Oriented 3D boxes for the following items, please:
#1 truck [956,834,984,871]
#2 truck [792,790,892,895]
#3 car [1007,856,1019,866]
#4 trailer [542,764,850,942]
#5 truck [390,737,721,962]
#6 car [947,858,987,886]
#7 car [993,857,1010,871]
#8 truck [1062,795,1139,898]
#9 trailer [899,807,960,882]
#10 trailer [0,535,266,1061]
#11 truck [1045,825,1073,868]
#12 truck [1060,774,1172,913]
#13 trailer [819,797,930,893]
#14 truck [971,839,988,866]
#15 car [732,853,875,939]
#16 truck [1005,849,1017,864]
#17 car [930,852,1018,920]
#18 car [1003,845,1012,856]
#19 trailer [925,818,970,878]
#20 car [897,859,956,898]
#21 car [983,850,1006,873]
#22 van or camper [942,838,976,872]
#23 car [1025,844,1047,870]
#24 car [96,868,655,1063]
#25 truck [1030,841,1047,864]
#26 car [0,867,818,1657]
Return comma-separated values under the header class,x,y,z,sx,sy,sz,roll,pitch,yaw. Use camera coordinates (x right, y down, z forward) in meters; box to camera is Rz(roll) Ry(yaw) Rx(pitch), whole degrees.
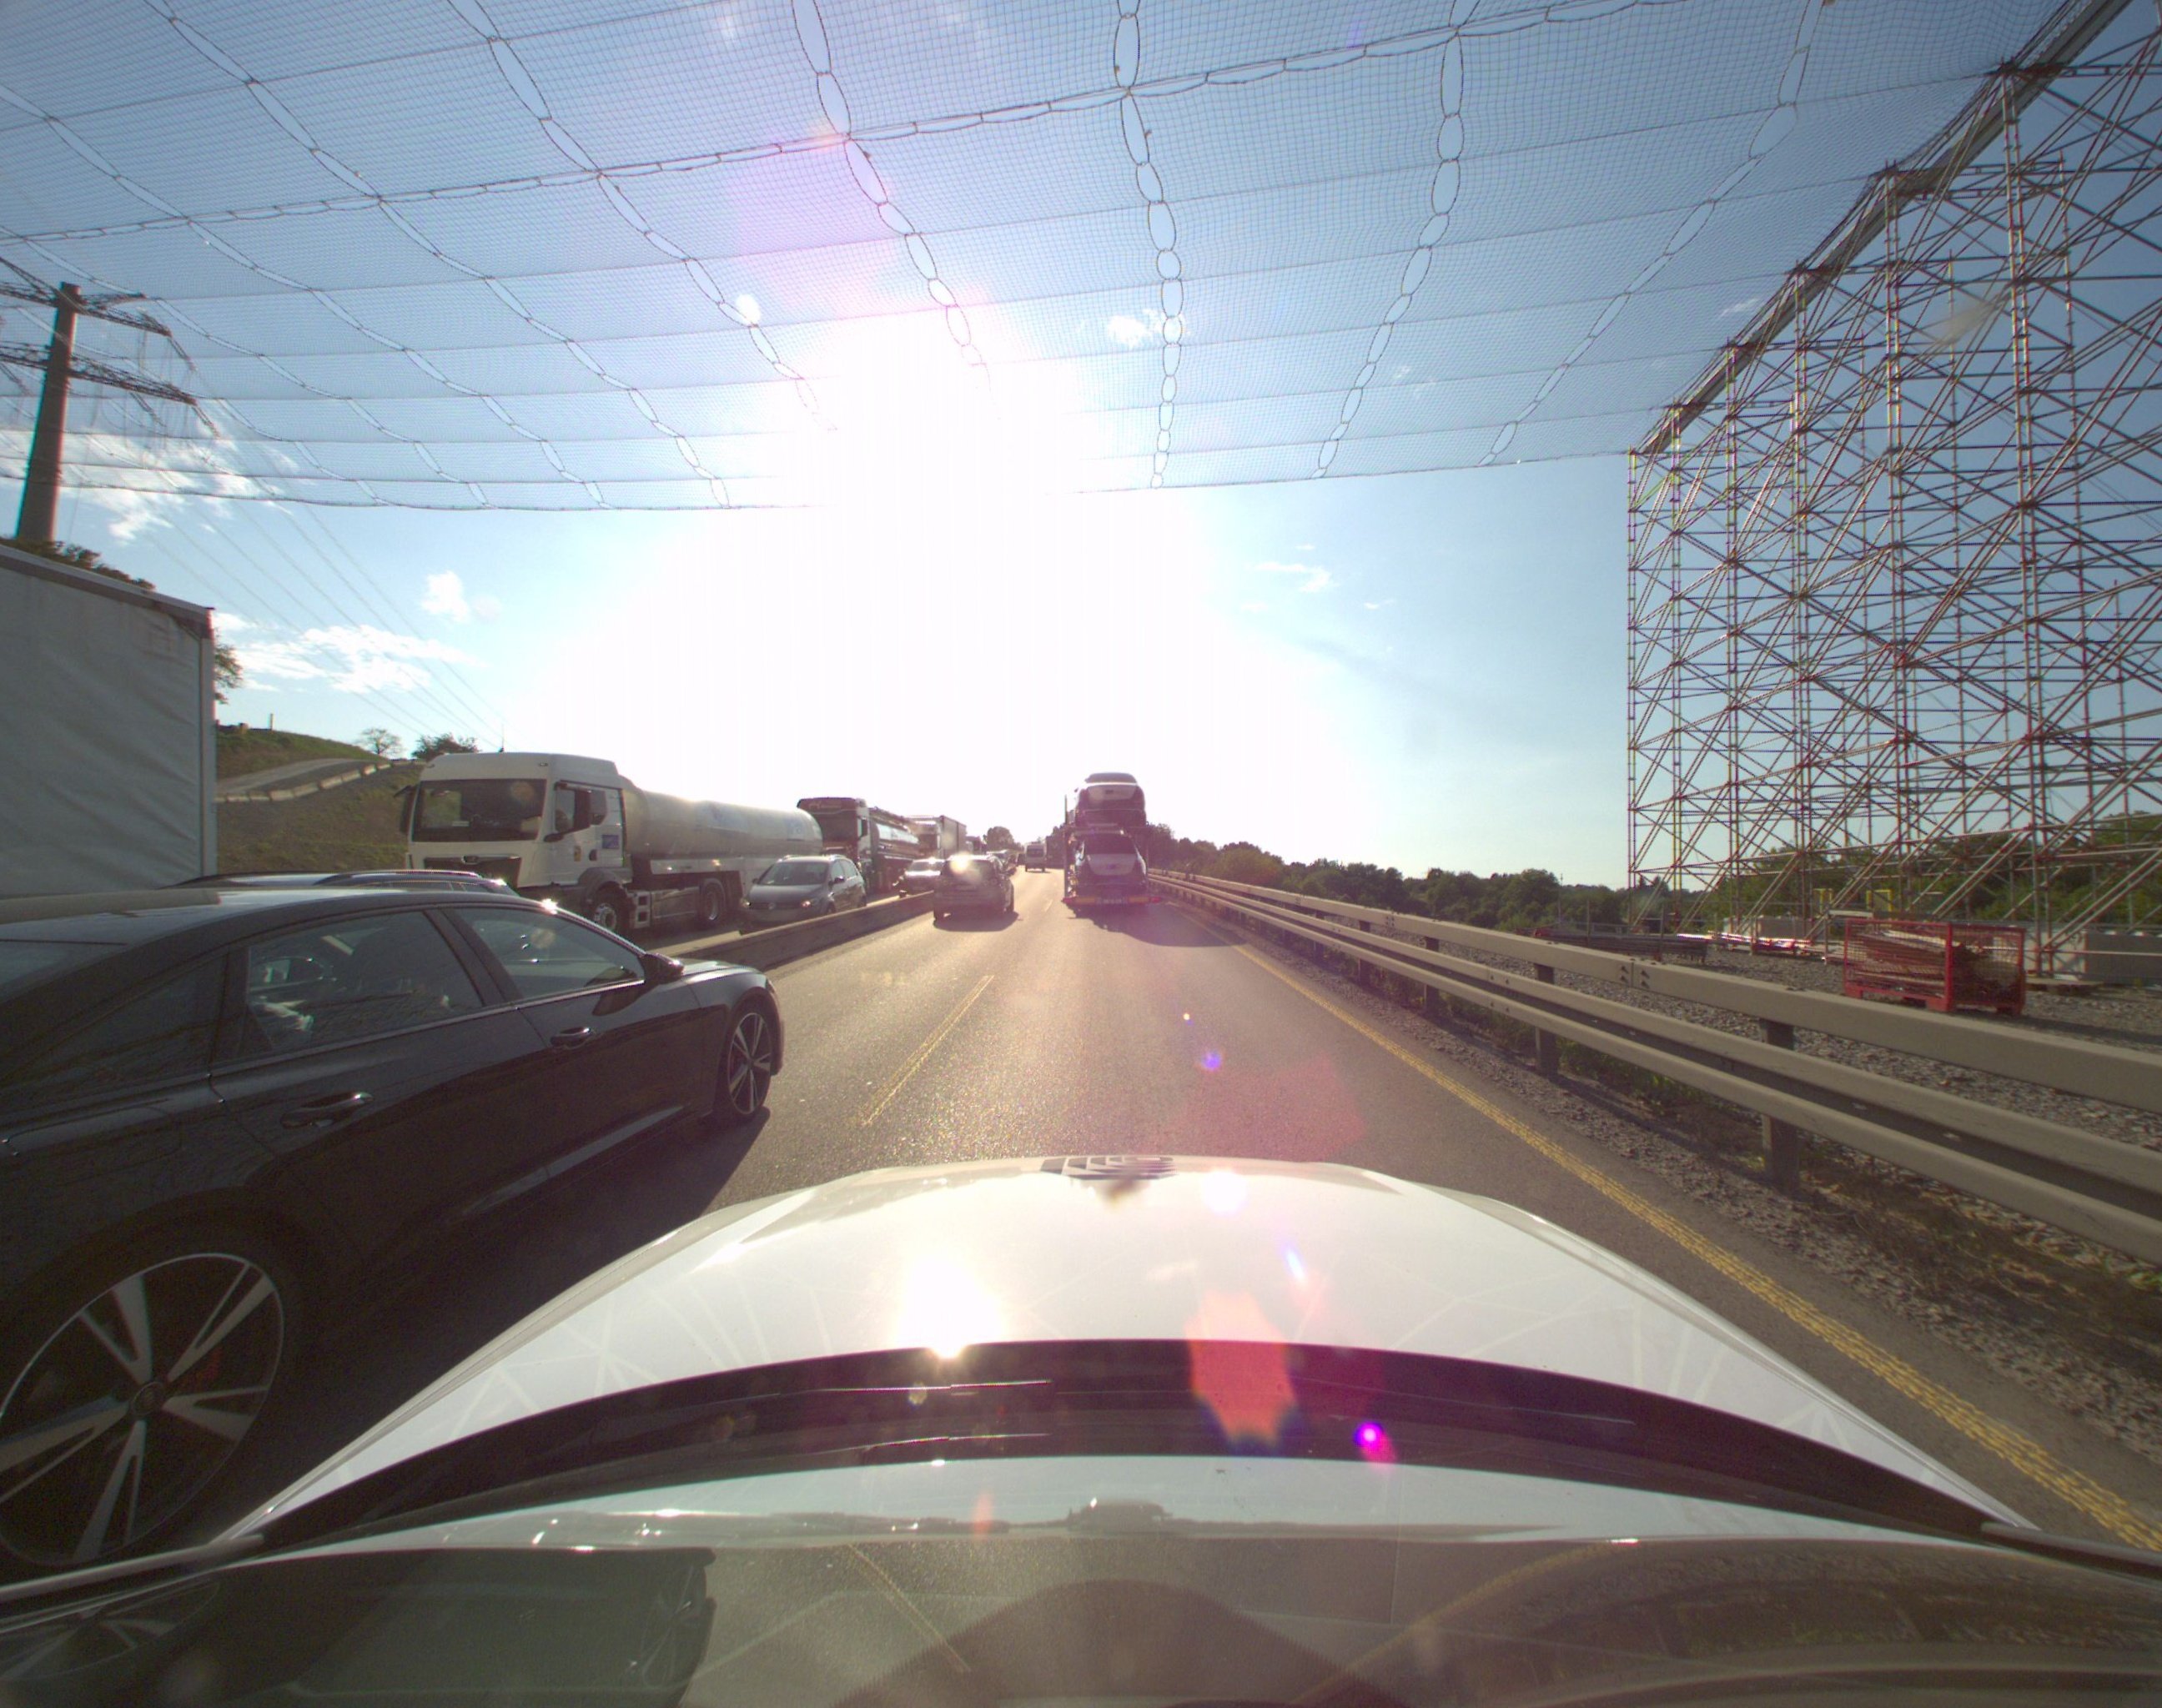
class,x,y,z,sx,sy,sz,roll,pitch,yaw
truck,-11.732,-0.142,86.437,2.596,3.754,6.506,0,-1,-5
truck,-9.247,-0.399,32.112,2.426,3.785,5.613,0,-1,-2
car,-11.951,1.243,142.660,1.821,1.772,3.997,0,-1,-2
trailer,-9.033,0.032,21.538,2.299,3.362,12.052,0,-1,1
truck,-9.137,-0.044,15.057,2.405,3.370,5.617,0,-1,1
car,-6.186,0.952,44.473,1.623,1.426,4.654,0,-1,-1
car,-8.681,1.083,89.301,1.676,1.479,4.598,0,-1,-3
truck,0.629,-0.242,35.317,2.830,3.792,9.981,0,-1,-1
trailer,-9.539,-0.492,52.365,2.470,4.328,10.499,0,-1,-3
trailer,-9.408,-0.462,1.036,2.419,3.963,14.098,0,-1,1
truck,-2.970,-0.919,105.213,3.279,5.237,9.923,0,-1,-3
truck,0.789,-0.212,25.863,2.791,3.497,10.599,0,-1,-1
trailer,-9.291,-0.313,38.245,2.300,3.790,12.046,0,-1,-1
truck,-15.816,-0.238,126.849,2.501,4.066,5.651,0,-1,-7
car,-5.697,0.804,17.255,1.746,1.587,3.940,0,-1,-1
truck,-16.110,0.598,187.462,2.585,3.170,6.667,0,-1,-4
car,-2.693,0.774,21.361,1.685,1.596,4.001,0,-1,1
car,-14.235,-0.691,157.600,1.628,2.014,3.989,0,-1,-8
trailer,-10.014,-0.401,61.851,2.438,4.189,8.532,0,-1,-3
car,-5.965,0.907,31.910,1.623,1.426,4.383,0,-1,-2
car,-7.593,0.662,71.953,1.813,1.925,4.830,0,-1,-3
van or camper,-10.884,0.142,73.233,2.403,2.891,7.607,0,-1,-4
car,-4.404,0.291,80.017,1.915,2.492,5.405,0,-1,-2
car,-6.360,0.868,8.177,1.786,1.398,4.246,-1,-1,2
truck,-7.061,-0.249,135.942,2.524,3.648,8.897,0,-1,-2
car,-2.896,0.792,3.218,1.927,1.399,4.963,0,0,2
